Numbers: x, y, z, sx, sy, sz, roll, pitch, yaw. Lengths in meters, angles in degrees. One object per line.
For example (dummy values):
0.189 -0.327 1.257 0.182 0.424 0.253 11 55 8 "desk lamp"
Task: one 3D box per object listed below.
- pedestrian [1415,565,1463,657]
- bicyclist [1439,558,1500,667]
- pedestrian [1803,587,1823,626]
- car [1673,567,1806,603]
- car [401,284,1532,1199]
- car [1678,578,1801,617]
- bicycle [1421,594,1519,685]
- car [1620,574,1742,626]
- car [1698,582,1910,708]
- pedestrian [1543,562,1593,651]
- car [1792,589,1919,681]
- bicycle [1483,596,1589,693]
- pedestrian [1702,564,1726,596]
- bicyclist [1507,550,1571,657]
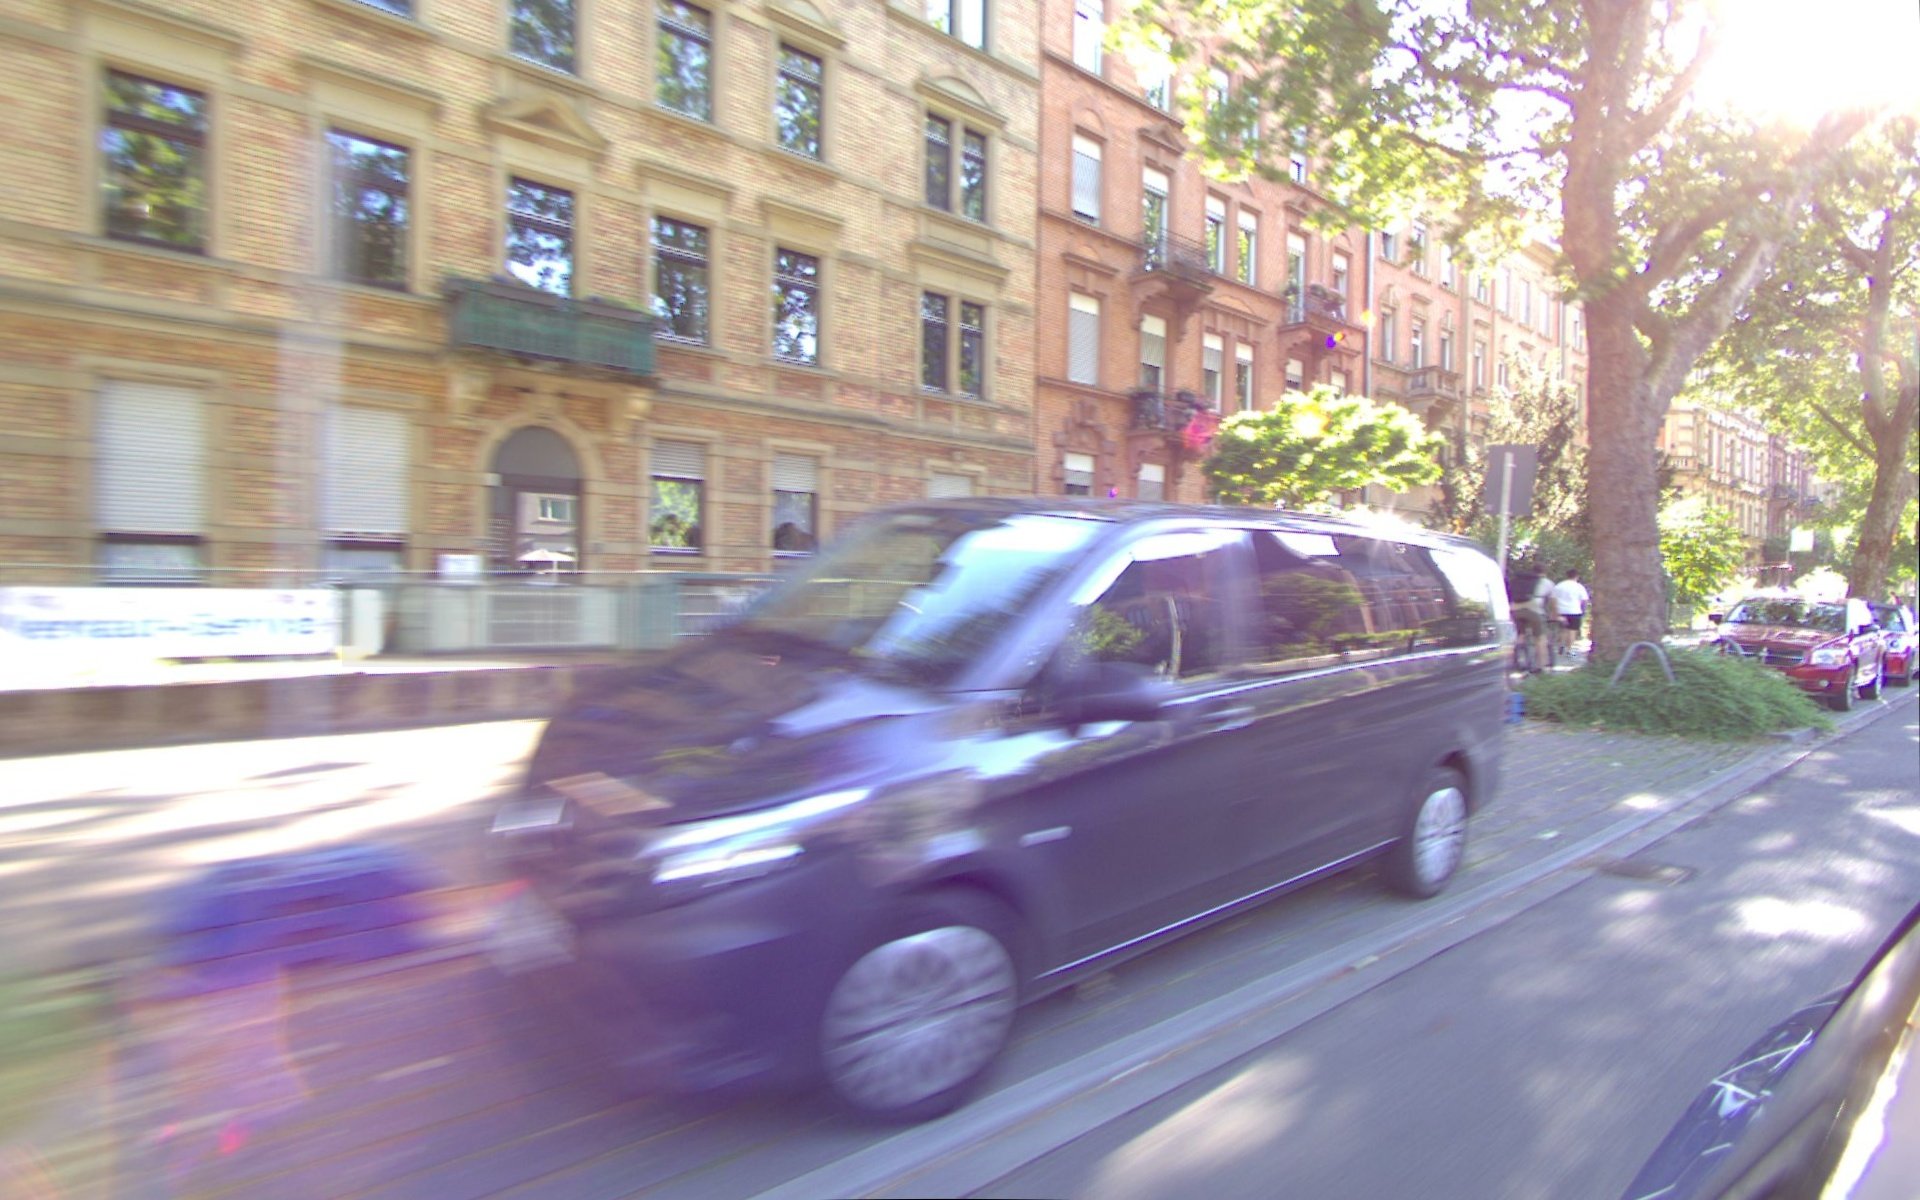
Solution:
8.775 0.196 18.534 0.607 1.648 0.531 2 1 -40 "pedestrian"
7.221 0.166 14.340 0.633 1.506 0.570 0 1 -41 "bicyclist"
35.472 0.271 42.082 0.596 1.569 0.540 3 -1 -42 "pedestrian"
35.352 -0.657 45.959 1.875 1.558 4.553 0 0 -42 "car"
0.573 0.347 4.585 5.113 2.039 1.996 1 1 -42 "car"
38.590 -0.148 50.201 1.874 1.869 4.555 0 1 -41 "car"
7.269 0.527 14.381 1.987 1.193 0.561 -1 1 -42 "bicycle"
31.510 -0.018 44.308 1.965 2.039 3.992 4 -1 -42 "car"
12.729 0.545 15.163 4.422 1.568 1.718 -1 3 -41 "car"
12.645 0.122 21.045 0.633 1.808 0.690 2 0 -42 "pedestrian"
17.160 0.578 19.048 3.932 1.480 1.717 -1 2 -42 "car"
7.902 0.562 13.843 2.188 1.192 0.561 -1 3 -42 "bicycle"
39.398 -1.042 52.884 0.884 1.611 0.862 -3 -2 42 "pedestrian"
7.842 0.035 13.707 0.633 1.397 0.570 0 1 -41 "bicyclist"
